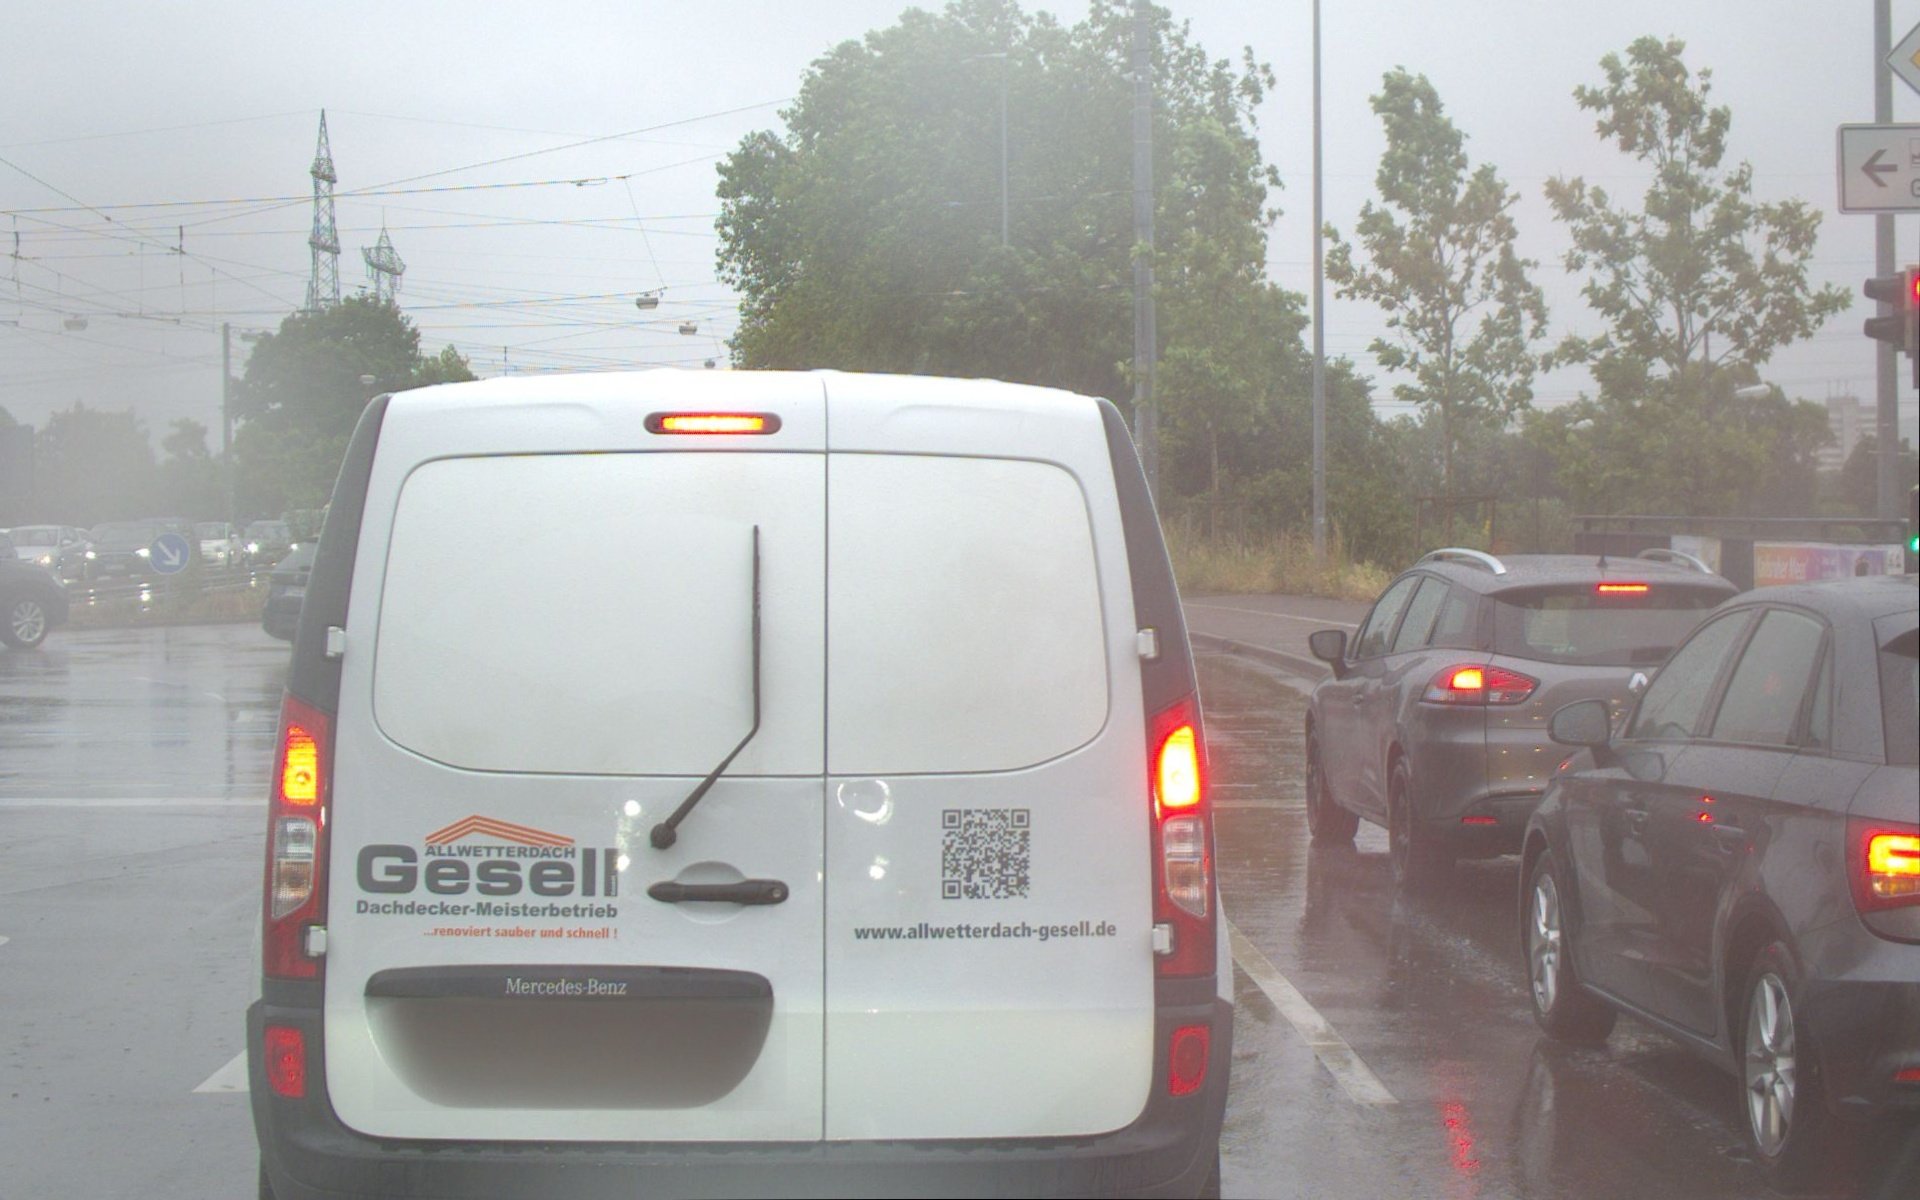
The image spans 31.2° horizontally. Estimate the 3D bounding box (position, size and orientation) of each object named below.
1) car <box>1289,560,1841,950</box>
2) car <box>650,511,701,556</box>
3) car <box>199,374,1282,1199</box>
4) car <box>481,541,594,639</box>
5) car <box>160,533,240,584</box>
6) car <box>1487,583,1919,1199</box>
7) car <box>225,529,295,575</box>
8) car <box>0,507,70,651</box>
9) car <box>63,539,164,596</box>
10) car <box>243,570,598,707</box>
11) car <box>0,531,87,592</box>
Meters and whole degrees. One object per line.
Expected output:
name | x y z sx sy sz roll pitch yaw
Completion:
car | 2.580 0.591 15.553 1.684 1.503 3.921 1 1 -1
car | -11.401 -2.664 137.973 1.947 1.656 4.465 2 0 -4
car | -0.501 0.450 7.701 1.754 1.744 4.170 1 2 -4
car | -6.681 -0.178 54.401 1.645 1.393 3.455 3 1 -7
car | -22.445 -1.223 101.652 1.559 1.421 3.569 2 0 -1
car | 2.538 0.643 8.962 1.597 1.362 3.631 -1 0 -3
car | -23.008 -1.566 113.029 1.559 1.421 3.569 2 0 -1
car | -12.605 -0.319 40.354 1.706 1.668 3.787 4 1 43
car | -22.430 -0.854 91.205 1.710 1.421 3.809 2 0 -1
car | -5.948 0.446 38.213 1.534 1.393 3.788 3 0 39
car | -22.540 -0.930 83.894 1.559 1.421 3.569 2 0 -1
